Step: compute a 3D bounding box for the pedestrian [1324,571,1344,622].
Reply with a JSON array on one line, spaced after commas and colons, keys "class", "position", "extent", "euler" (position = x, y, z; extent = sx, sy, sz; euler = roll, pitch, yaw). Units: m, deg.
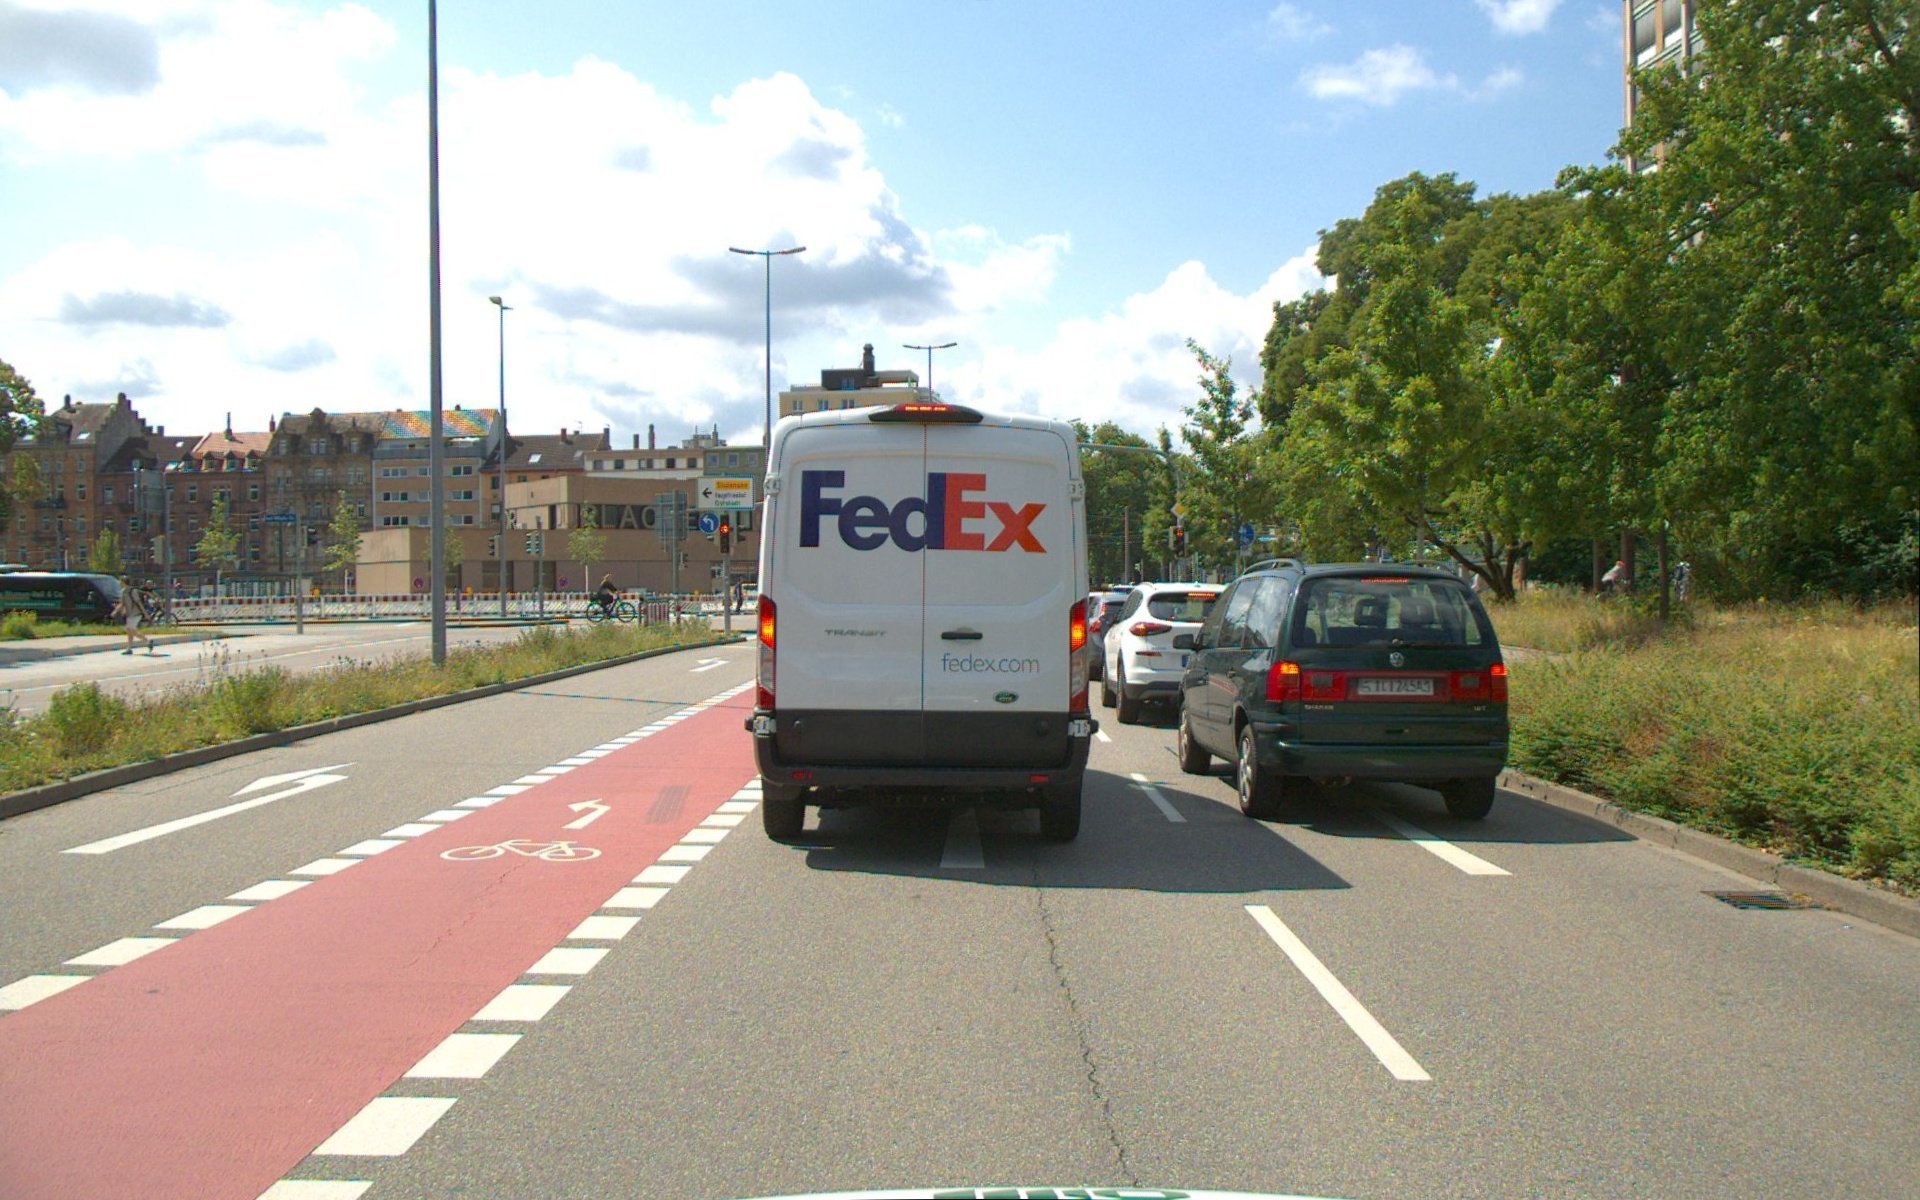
[{"class": "pedestrian", "position": [14.185, -0.138, 62.747], "extent": [0.562, 1.925, 0.679], "euler": [0, 0, -1]}]

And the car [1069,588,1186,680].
[{"class": "car", "position": [2.893, 0.555, 29.269], "extent": [1.760, 1.486, 3.839], "euler": [0, 1, 1]}]

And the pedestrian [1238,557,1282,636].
[{"class": "pedestrian", "position": [7.400, -0.082, 40.782], "extent": [0.931, 1.925, 0.774], "euler": [0, 0, -1]}]

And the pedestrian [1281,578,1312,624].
[{"class": "pedestrian", "position": [10.520, 0.022, 51.740], "extent": [0.827, 1.413, 0.741], "euler": [-1, 0, -1]}]

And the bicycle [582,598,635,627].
[{"class": "bicycle", "position": [-13.086, 0.448, 61.646], "extent": [1.884, 1.048, 0.547], "euler": [-1, 0, -8]}]

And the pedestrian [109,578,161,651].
[{"class": "pedestrian", "position": [-18.259, 0.308, 36.604], "extent": [0.545, 1.587, 0.871], "euler": [0, 1, 41]}]

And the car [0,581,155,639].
[{"class": "car", "position": [-31.051, 0.340, 57.723], "extent": [4.909, 1.911, 1.927], "euler": [-1, 1, -4]}]

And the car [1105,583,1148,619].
[{"class": "car", "position": [8.884, 0.058, 87.906], "extent": [1.951, 1.825, 4.375], "euler": [-1, 0, 10]}]

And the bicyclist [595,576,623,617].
[{"class": "bicyclist", "position": [-13.091, -0.126, 61.640], "extent": [0.949, 1.500, 0.550], "euler": [-1, 0, -8]}]

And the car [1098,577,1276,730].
[{"class": "car", "position": [2.733, 0.576, 20.689], "extent": [1.760, 1.717, 4.001], "euler": [0, 1, 1]}]

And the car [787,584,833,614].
[{"class": "car", "position": [-8.693, -0.050, 96.094], "extent": [1.839, 1.680, 4.003], "euler": [-1, 0, 8]}]

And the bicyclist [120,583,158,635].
[{"class": "bicyclist", "position": [-30.081, 0.320, 60.602], "extent": [1.097, 1.877, 0.592], "euler": [-1, 1, -6]}]

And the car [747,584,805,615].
[{"class": "car", "position": [-9.968, -0.038, 89.894], "extent": [1.860, 1.613, 4.003], "euler": [-1, 0, 14]}]

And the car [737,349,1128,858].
[{"class": "car", "position": [-0.351, 0.004, 11.706], "extent": [2.098, 2.699, 5.699], "euler": [0, 0, -4]}]

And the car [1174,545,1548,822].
[{"class": "car", "position": [2.848, 0.507, 12.754], "extent": [1.775, 1.764, 4.388], "euler": [0, 1, -1]}]

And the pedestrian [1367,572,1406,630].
[{"class": "pedestrian", "position": [11.560, 0.026, 44.825], "extent": [0.827, 1.565, 0.835], "euler": [-1, 0, -1]}]

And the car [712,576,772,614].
[{"class": "car", "position": [-11.993, -0.257, 91.235], "extent": [1.951, 2.049, 4.003], "euler": [-1, 0, 14]}]

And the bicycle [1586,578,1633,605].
[{"class": "bicycle", "position": [23.244, -0.301, 59.196], "extent": [1.537, 0.972, 0.486], "euler": [0, 0, 19]}]

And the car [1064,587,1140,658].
[{"class": "car", "position": [3.068, 0.452, 36.179], "extent": [1.454, 1.453, 3.433], "euler": [0, 1, 1]}]

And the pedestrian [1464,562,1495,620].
[{"class": "pedestrian", "position": [19.032, -0.326, 60.618], "extent": [0.726, 2.094, 0.844], "euler": [-1, 0, -17]}]

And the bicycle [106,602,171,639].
[{"class": "bicycle", "position": [-30.080, 0.742, 60.575], "extent": [2.025, 1.312, 0.603], "euler": [-1, 0, -7]}]

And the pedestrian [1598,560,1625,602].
[{"class": "pedestrian", "position": [23.302, -0.673, 59.167], "extent": [0.880, 1.497, 0.486], "euler": [0, 0, 19]}]
